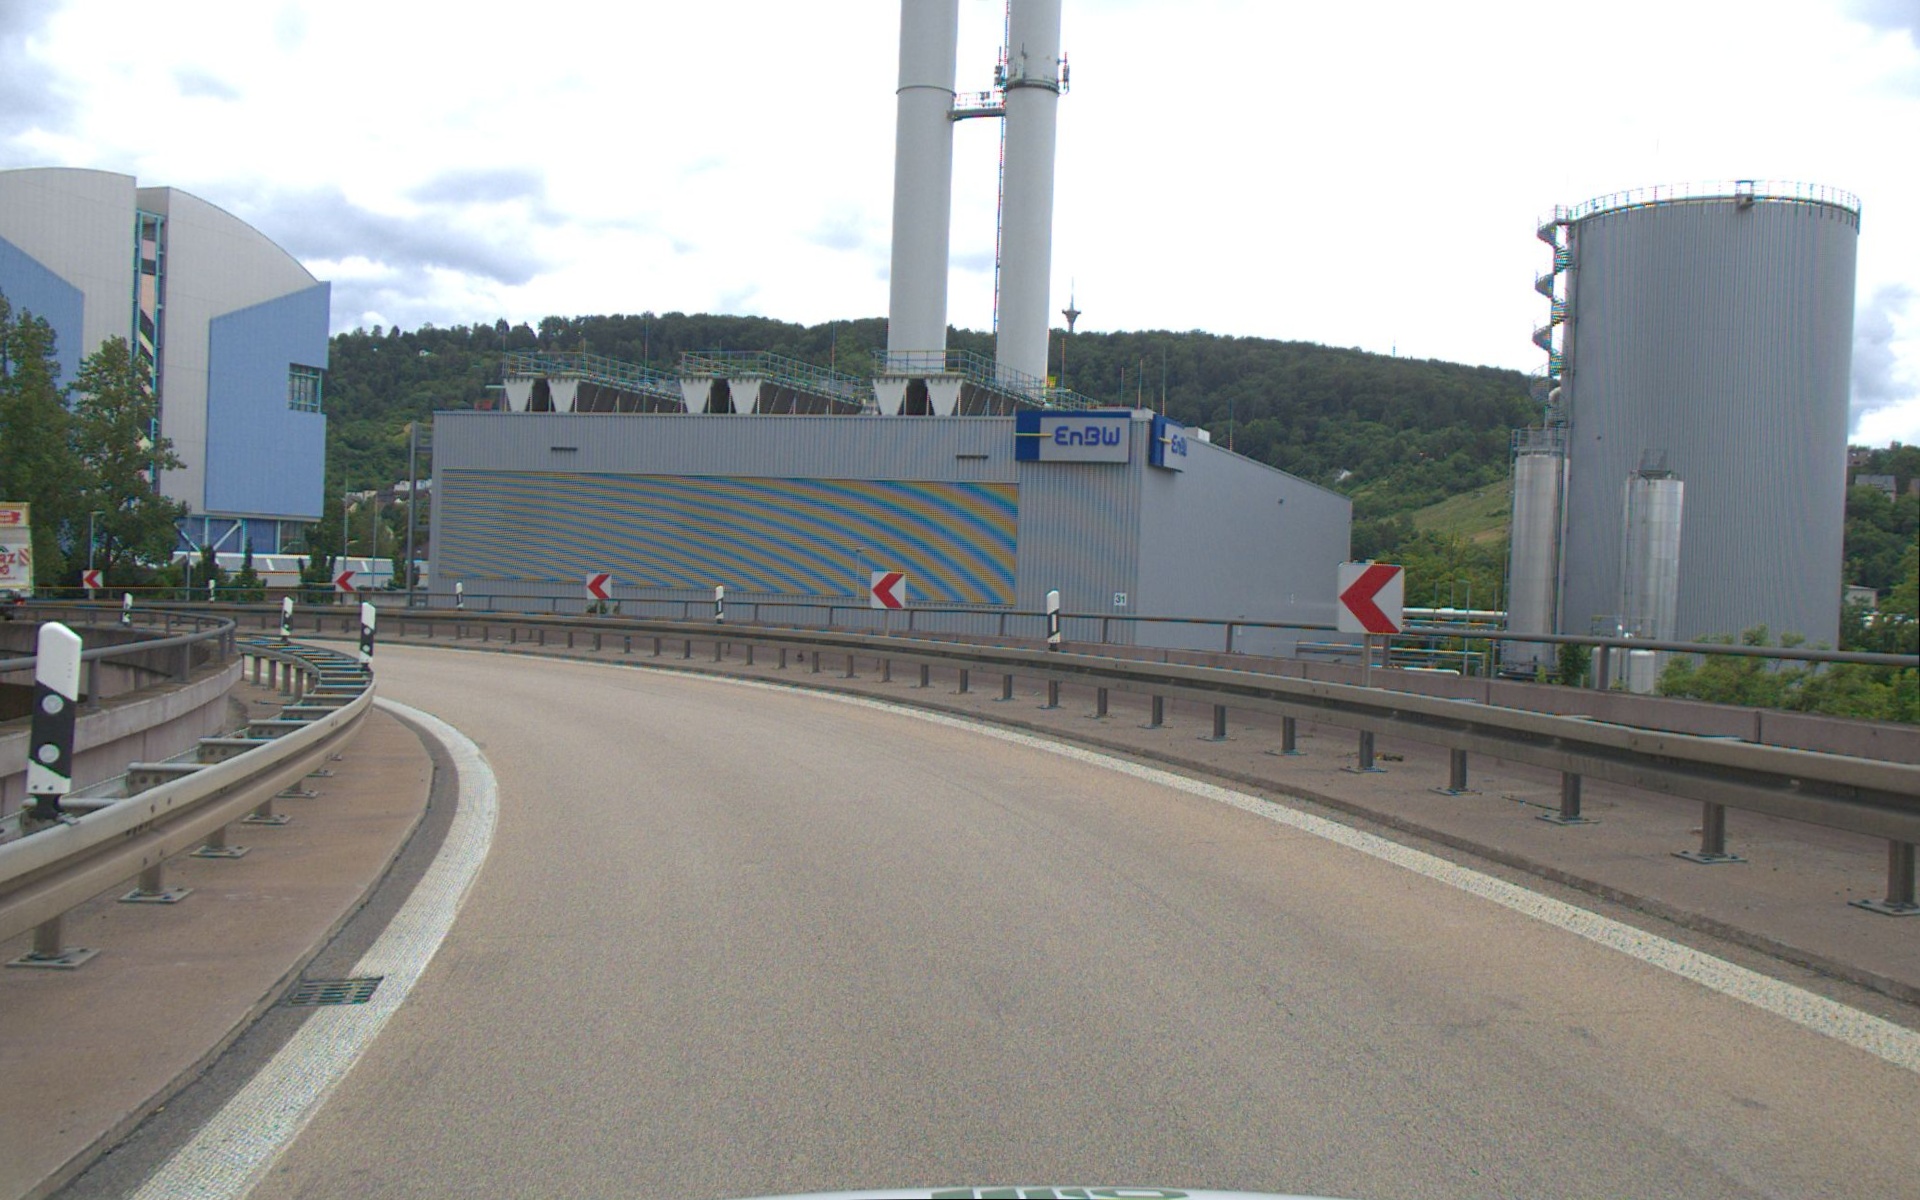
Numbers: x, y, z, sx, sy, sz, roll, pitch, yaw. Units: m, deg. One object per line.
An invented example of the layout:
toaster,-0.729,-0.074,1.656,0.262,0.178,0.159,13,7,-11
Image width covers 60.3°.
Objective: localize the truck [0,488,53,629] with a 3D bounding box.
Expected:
truck,-28.901,-1.203,45.426,7.747,3.737,3.058,2,0,26
